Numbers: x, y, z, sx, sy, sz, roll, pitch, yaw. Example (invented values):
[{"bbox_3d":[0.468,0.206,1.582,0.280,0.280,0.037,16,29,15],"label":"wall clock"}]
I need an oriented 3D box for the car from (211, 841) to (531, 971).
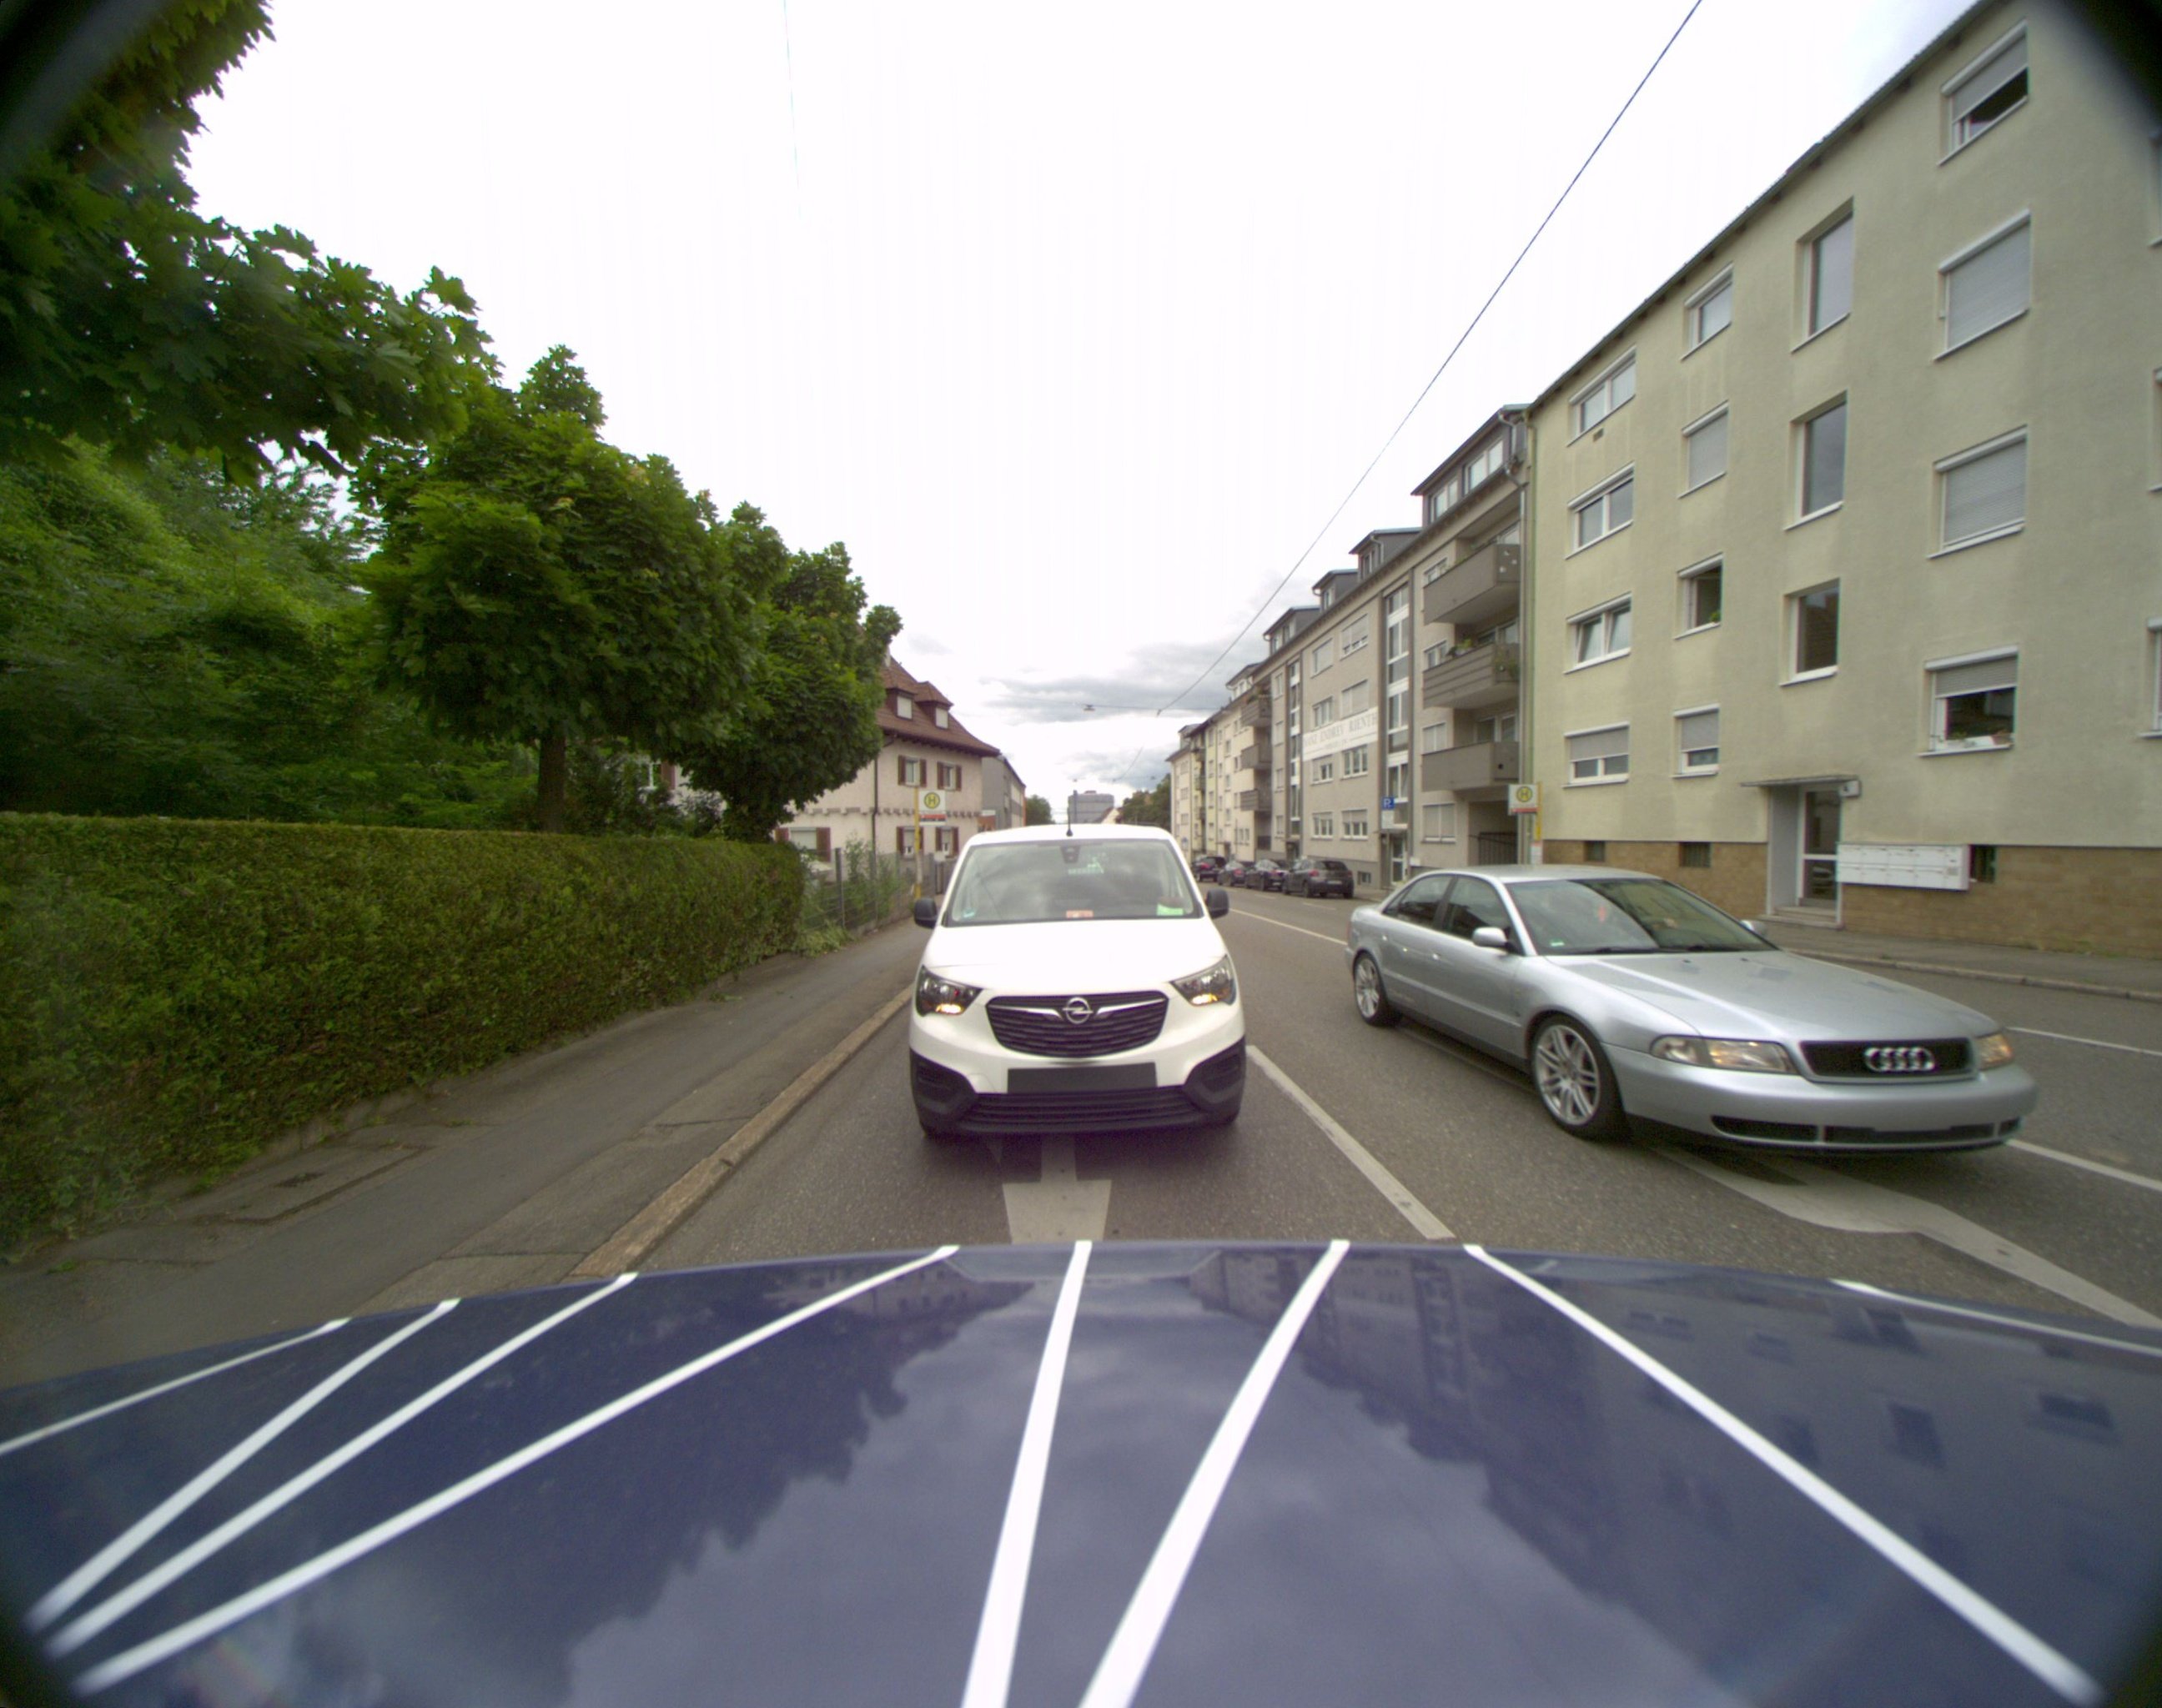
[{"bbox_3d":[-12.768,0.795,13.875,1.994,2.002,4.008,-1,0,40],"label":"car"}]

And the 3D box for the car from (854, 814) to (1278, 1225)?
[{"bbox_3d":[-0.120,0.713,5.368,1.803,1.736,3.999,-3,1,-2],"label":"car"}]

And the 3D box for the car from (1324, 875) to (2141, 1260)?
[{"bbox_3d":[3.241,0.881,5.056,1.701,1.365,4.177,-2,0,-3],"label":"car"}]

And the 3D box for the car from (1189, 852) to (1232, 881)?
[{"bbox_3d":[8.343,0.765,49.161,1.875,1.743,4.306,2,1,-2],"label":"car"}]

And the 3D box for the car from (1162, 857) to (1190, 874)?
[{"bbox_3d":[8.210,0.981,65.991,1.875,1.372,4.307,2,0,0],"label":"car"}]

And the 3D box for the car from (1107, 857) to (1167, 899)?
[{"bbox_3d":[2.148,0.904,30.247,1.752,1.446,4.444,-2,1,-4],"label":"car"}]

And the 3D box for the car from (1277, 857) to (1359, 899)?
[{"bbox_3d":[8.904,0.859,28.862,1.773,1.428,3.800,2,0,-2],"label":"car"}]

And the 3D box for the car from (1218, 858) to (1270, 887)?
[{"bbox_3d":[8.484,0.935,39.875,1.772,1.397,4.307,0,0,-1],"label":"car"}]
